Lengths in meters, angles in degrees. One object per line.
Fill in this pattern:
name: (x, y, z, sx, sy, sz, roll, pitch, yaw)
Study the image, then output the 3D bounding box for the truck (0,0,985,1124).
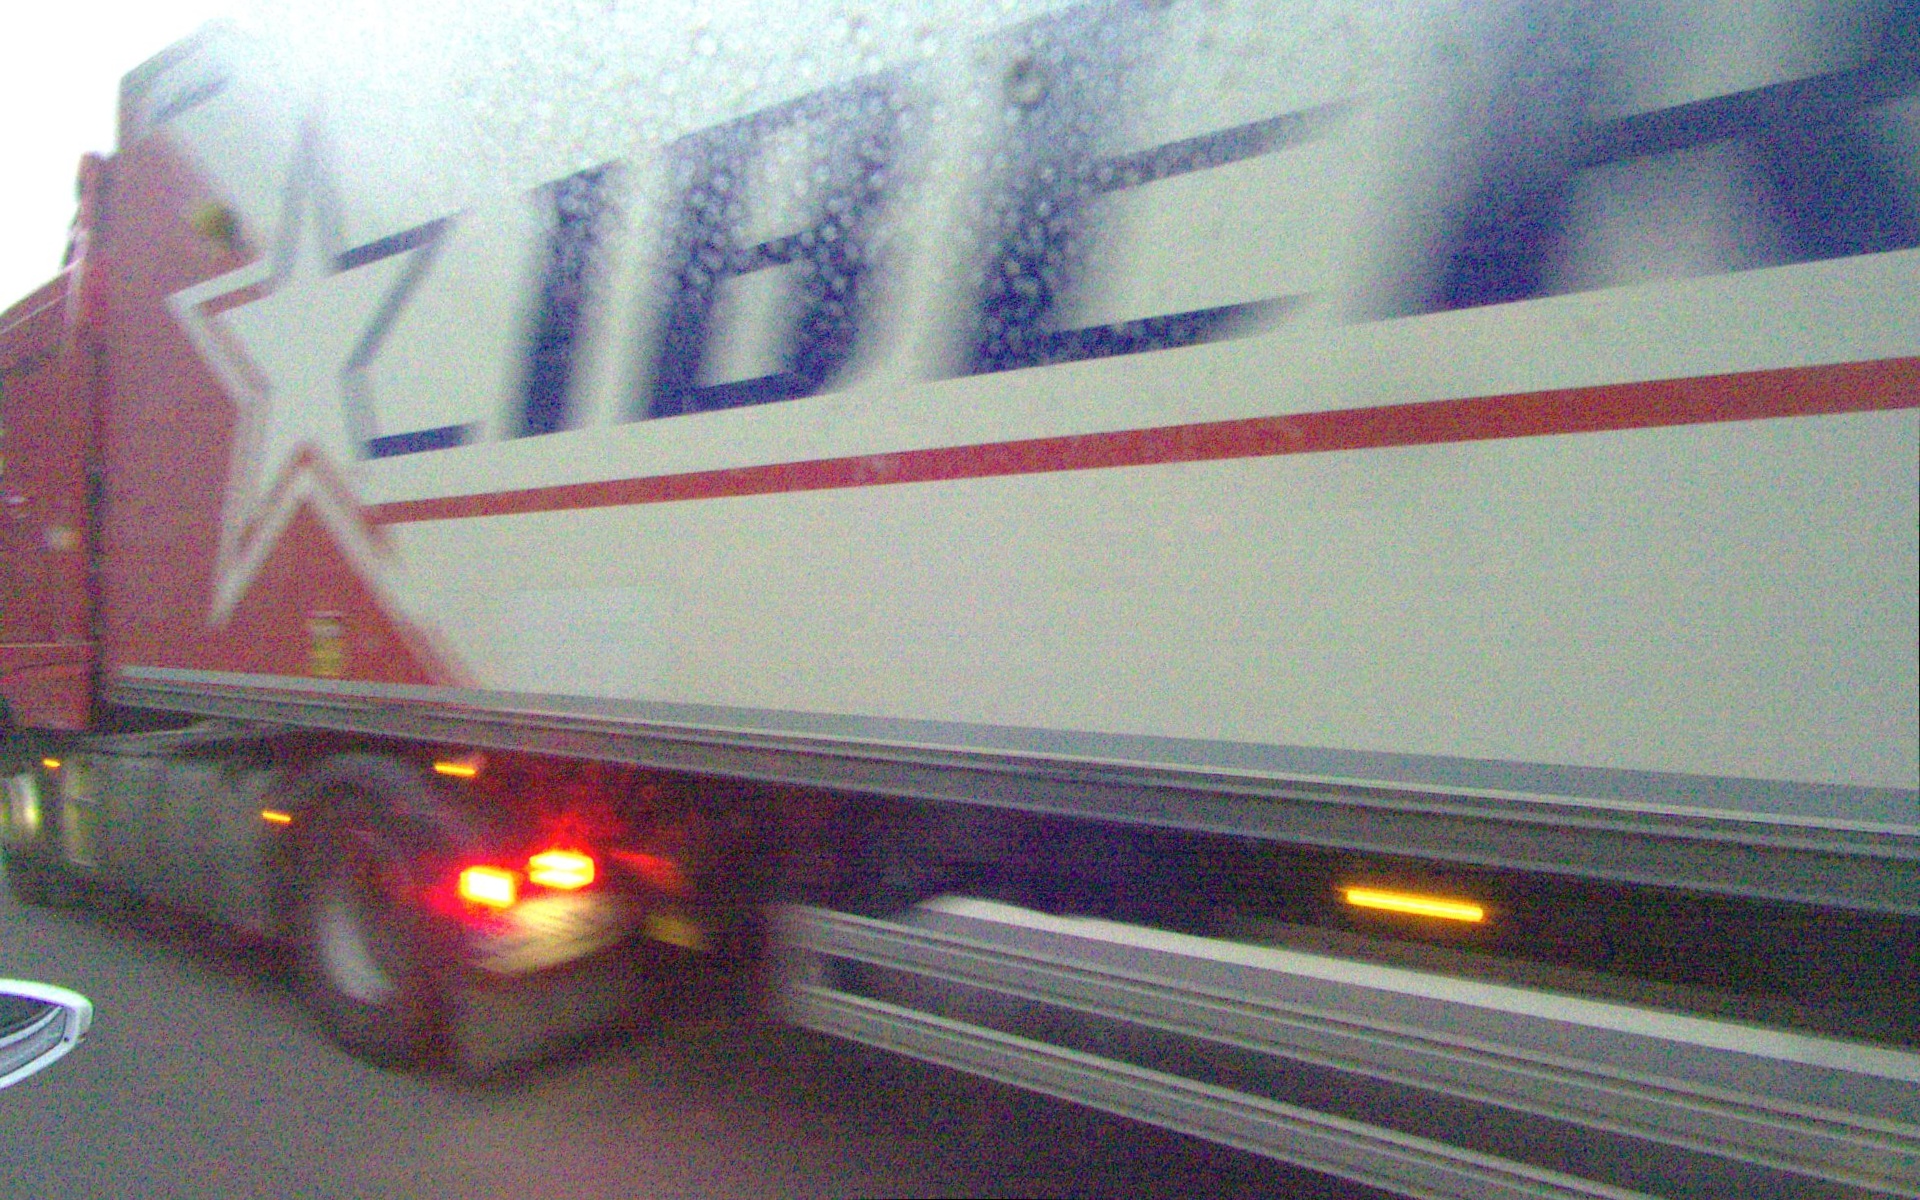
truck: (-3.344, -0.452, 5.972, 6.354, 4.197, 3.064, -1, -2, 32)

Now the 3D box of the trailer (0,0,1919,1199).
trailer: (1.941, -0.456, 2.632, 14.011, 4.022, 3.091, -1, 0, 32)
